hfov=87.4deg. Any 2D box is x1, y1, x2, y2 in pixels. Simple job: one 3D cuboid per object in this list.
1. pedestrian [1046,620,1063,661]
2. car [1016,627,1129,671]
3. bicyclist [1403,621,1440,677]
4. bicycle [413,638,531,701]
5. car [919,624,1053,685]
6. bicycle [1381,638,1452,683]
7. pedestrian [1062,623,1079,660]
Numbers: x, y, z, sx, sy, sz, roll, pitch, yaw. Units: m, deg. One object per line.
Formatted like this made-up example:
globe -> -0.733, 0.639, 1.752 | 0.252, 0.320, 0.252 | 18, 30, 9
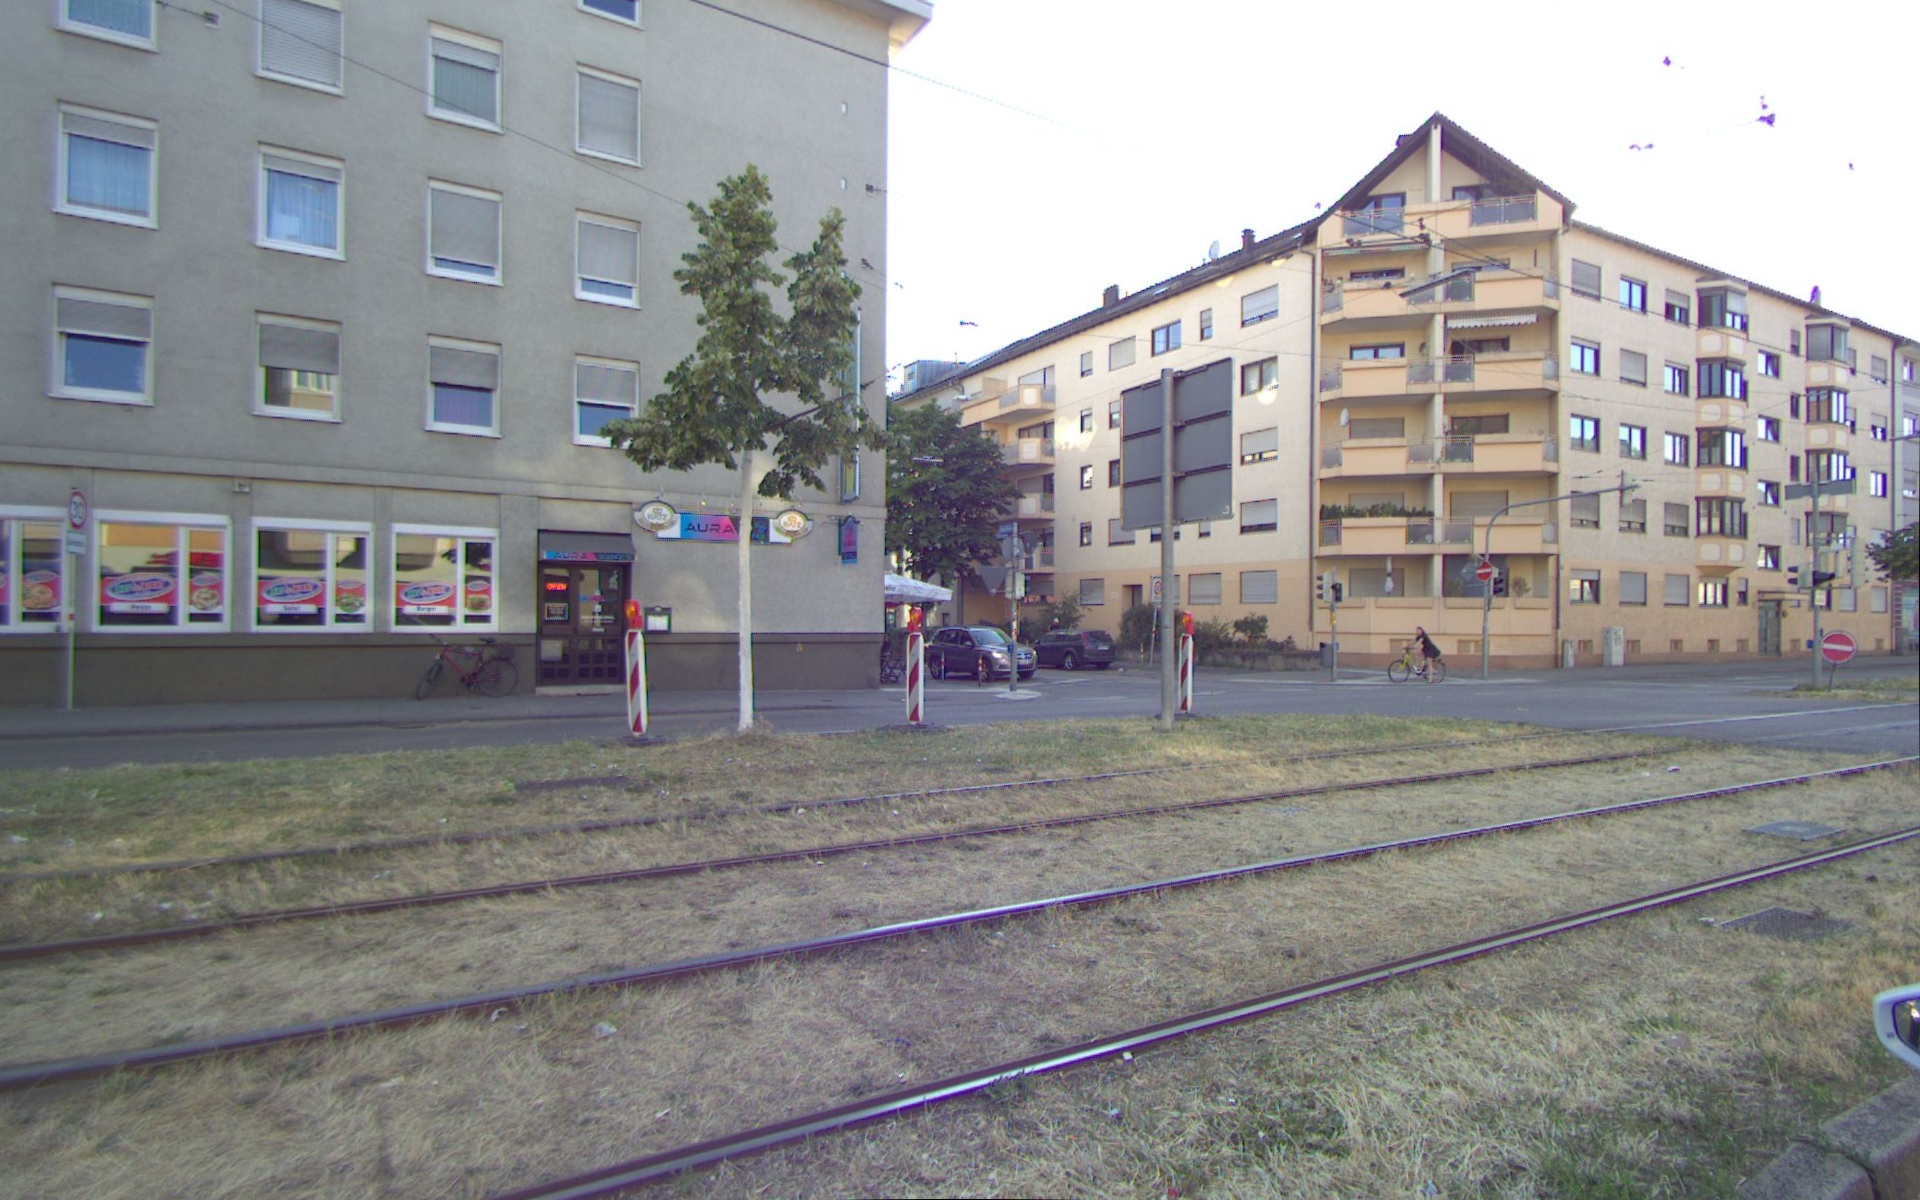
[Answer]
pedestrian -> 4.051, 1.722, 43.090 | 0.456, 1.727, 0.589 | 2, 0, -24
car -> 4.153, 1.795, 37.563 | 1.982, 1.462, 3.957 | -1, 0, -38
bicyclist -> 13.459, 1.426, 29.306 | 0.793, 1.607, 0.628 | 0, 0, 4
bicycle -> -8.601, 1.207, 17.727 | 1.823, 1.037, 0.605 | 2, 0, -31
car -> 0.746, 1.640, 31.439 | 1.982, 1.645, 4.153 | -3, 1, -38
bicycle -> 13.300, 1.753, 29.286 | 1.833, 1.274, 0.457 | 0, 0, 3
pedestrian -> 4.762, 1.785, 43.423 | 0.508, 1.573, 0.547 | -1, 1, -24
